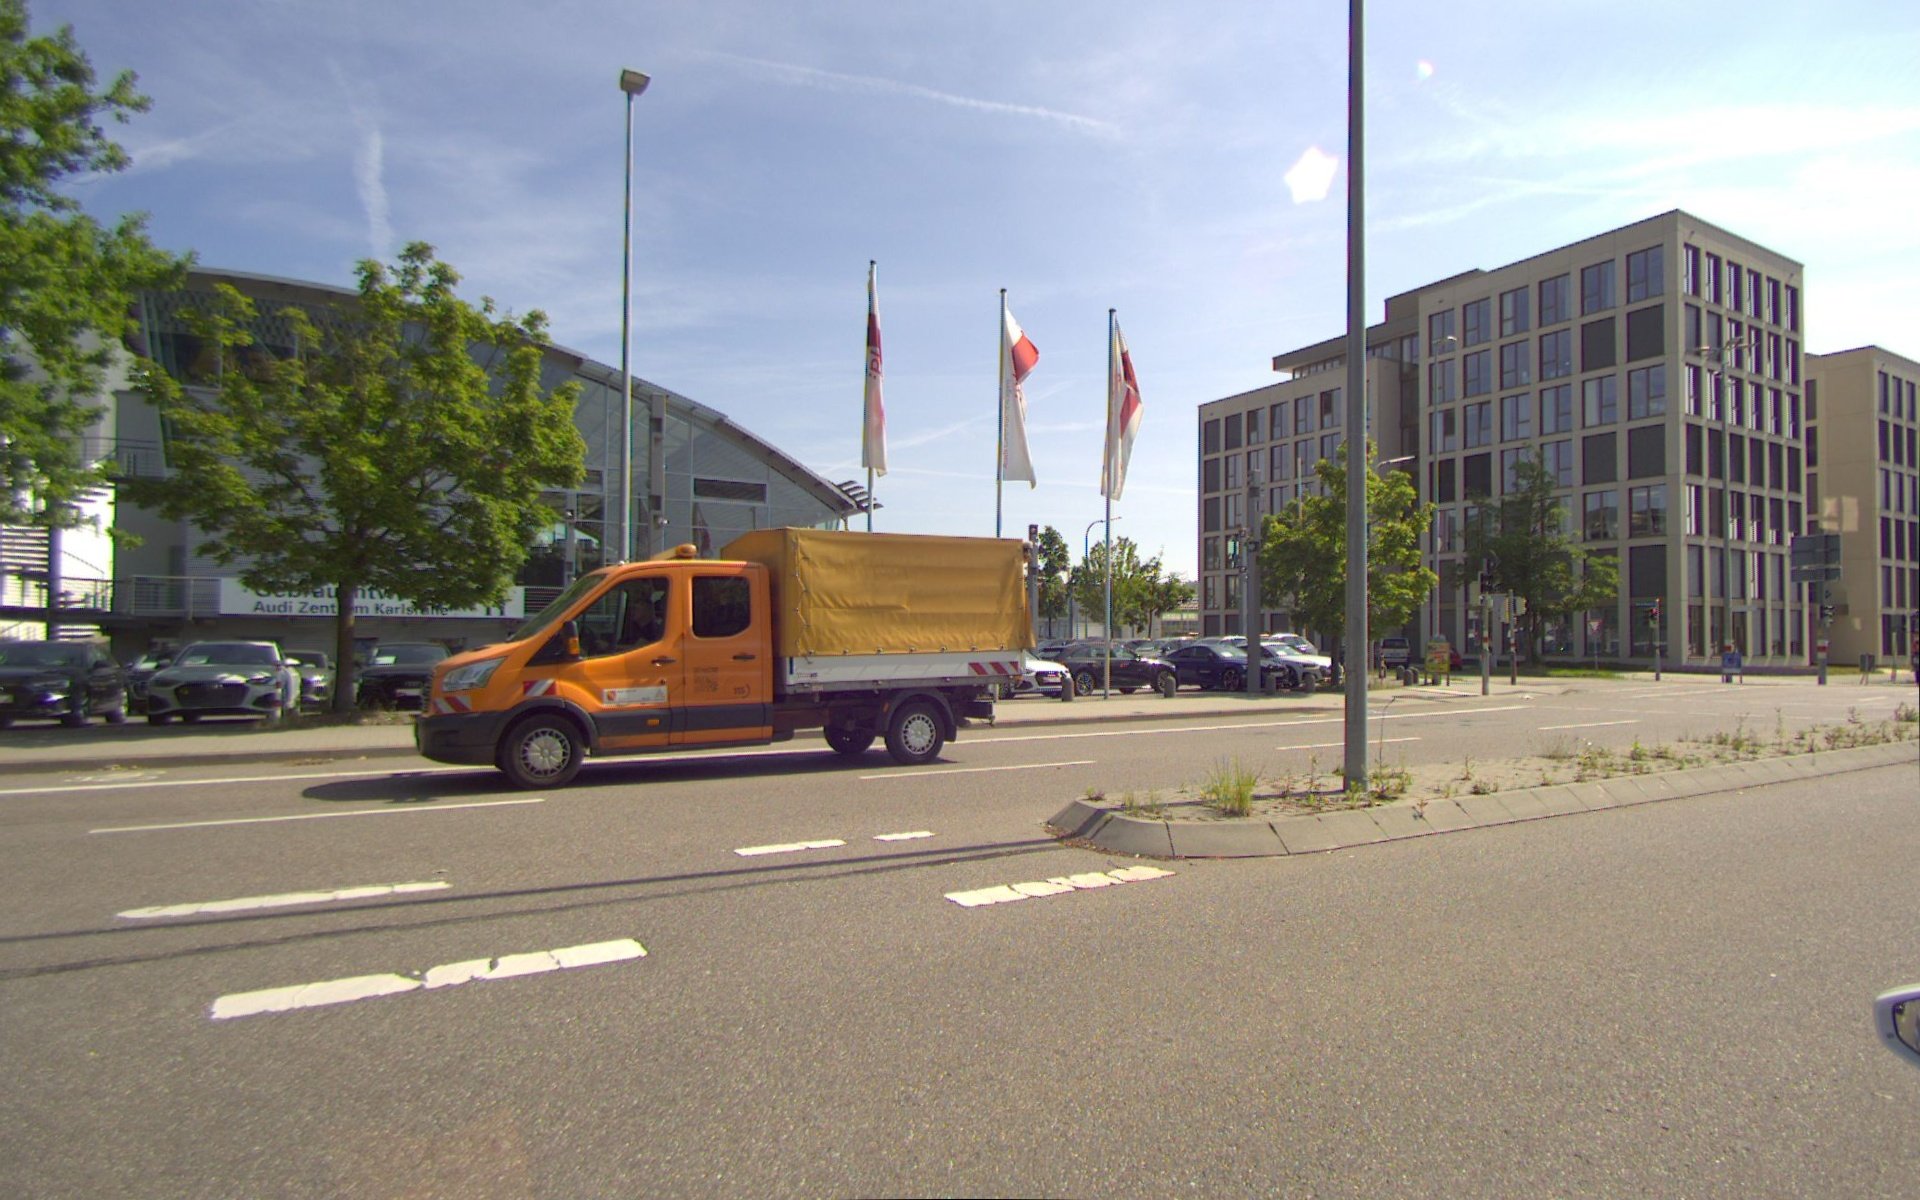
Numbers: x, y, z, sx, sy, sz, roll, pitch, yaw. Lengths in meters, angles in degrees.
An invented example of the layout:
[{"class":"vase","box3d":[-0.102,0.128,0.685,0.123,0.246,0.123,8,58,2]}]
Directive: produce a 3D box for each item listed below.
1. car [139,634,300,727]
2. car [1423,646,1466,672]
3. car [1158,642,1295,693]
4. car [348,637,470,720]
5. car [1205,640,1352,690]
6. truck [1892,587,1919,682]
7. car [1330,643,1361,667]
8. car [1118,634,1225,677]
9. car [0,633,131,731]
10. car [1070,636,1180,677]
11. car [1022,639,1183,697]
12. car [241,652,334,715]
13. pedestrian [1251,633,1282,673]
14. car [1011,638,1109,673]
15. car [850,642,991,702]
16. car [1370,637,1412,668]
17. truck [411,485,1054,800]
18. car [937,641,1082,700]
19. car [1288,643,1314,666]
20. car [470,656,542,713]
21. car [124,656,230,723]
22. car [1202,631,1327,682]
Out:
[{"class":"car","box3d":[-12.743,1.400,17.540,1.781,1.412,4.197,1,-5,-30]},{"class":"car","box3d":[29.174,3.512,60.589,1.772,1.434,4.032,-1,-2,18]},{"class":"car","box3d":[7.862,1.966,29.938,1.744,1.421,3.815,2,-3,-31]},{"class":"car","box3d":[-10.469,1.482,18.981,1.815,1.372,4.091,2,-5,-31]},{"class":"car","box3d":[9.851,1.972,31.432,1.876,1.451,4.356,1,-3,-28]},{"class":"truck","box3d":[41.311,1.443,41.276,7.500,3.728,2.730,2,-3,-34]},{"class":"car","box3d":[25.460,3.607,66.439,1.772,1.533,4.001,-1,-2,19]},{"class":"car","box3d":[8.877,2.309,42.110,4.325,1.564,1.779,-1,-1,-31]},{"class":"car","box3d":[-15.000,1.343,16.256,1.788,1.420,4.006,2,-5,-31]},{"class":"car","box3d":[7.285,2.444,44.099,4.722,1.525,1.779,-1,-1,-31]},{"class":"car","box3d":[4.042,1.875,28.374,4.373,1.515,1.789,2,-2,-30]},{"class":"car","box3d":[-17.996,2.170,27.018,1.783,1.492,3.800,1,-2,-30]},{"class":"pedestrian","box3d":[13.692,2.348,44.876,0.906,1.772,0.996,2,-2,-30]},{"class":"car","box3d":[4.886,2.668,48.970,4.578,1.461,1.779,-1,-1,-31]},{"class":"car","box3d":[-1.061,1.772,24.567,1.846,1.336,3.970,1,-5,-30]},{"class":"car","box3d":[27.299,3.283,63.754,1.860,1.845,4.816,-1,-2,16]},{"class":"truck","box3d":[-2.315,0.486,11.204,6.596,2.659,2.364,1,-4,-31]},{"class":"car","box3d":[1.184,1.826,25.899,1.856,1.387,4.055,1,-5,-30]},{"class":"car","box3d":[23.715,3.754,69.957,1.628,1.517,3.965,-1,-2,17]},{"class":"car","box3d":[-13.362,2.414,29.458,1.571,1.492,3.491,1,-2,-30]},{"class":"car","box3d":[-19.999,2.235,25.798,1.671,1.492,3.798,1,-2,-31]},{"class":"car","box3d":[11.291,2.048,37.192,4.540,1.635,1.805,-1,-1,-30]}]
